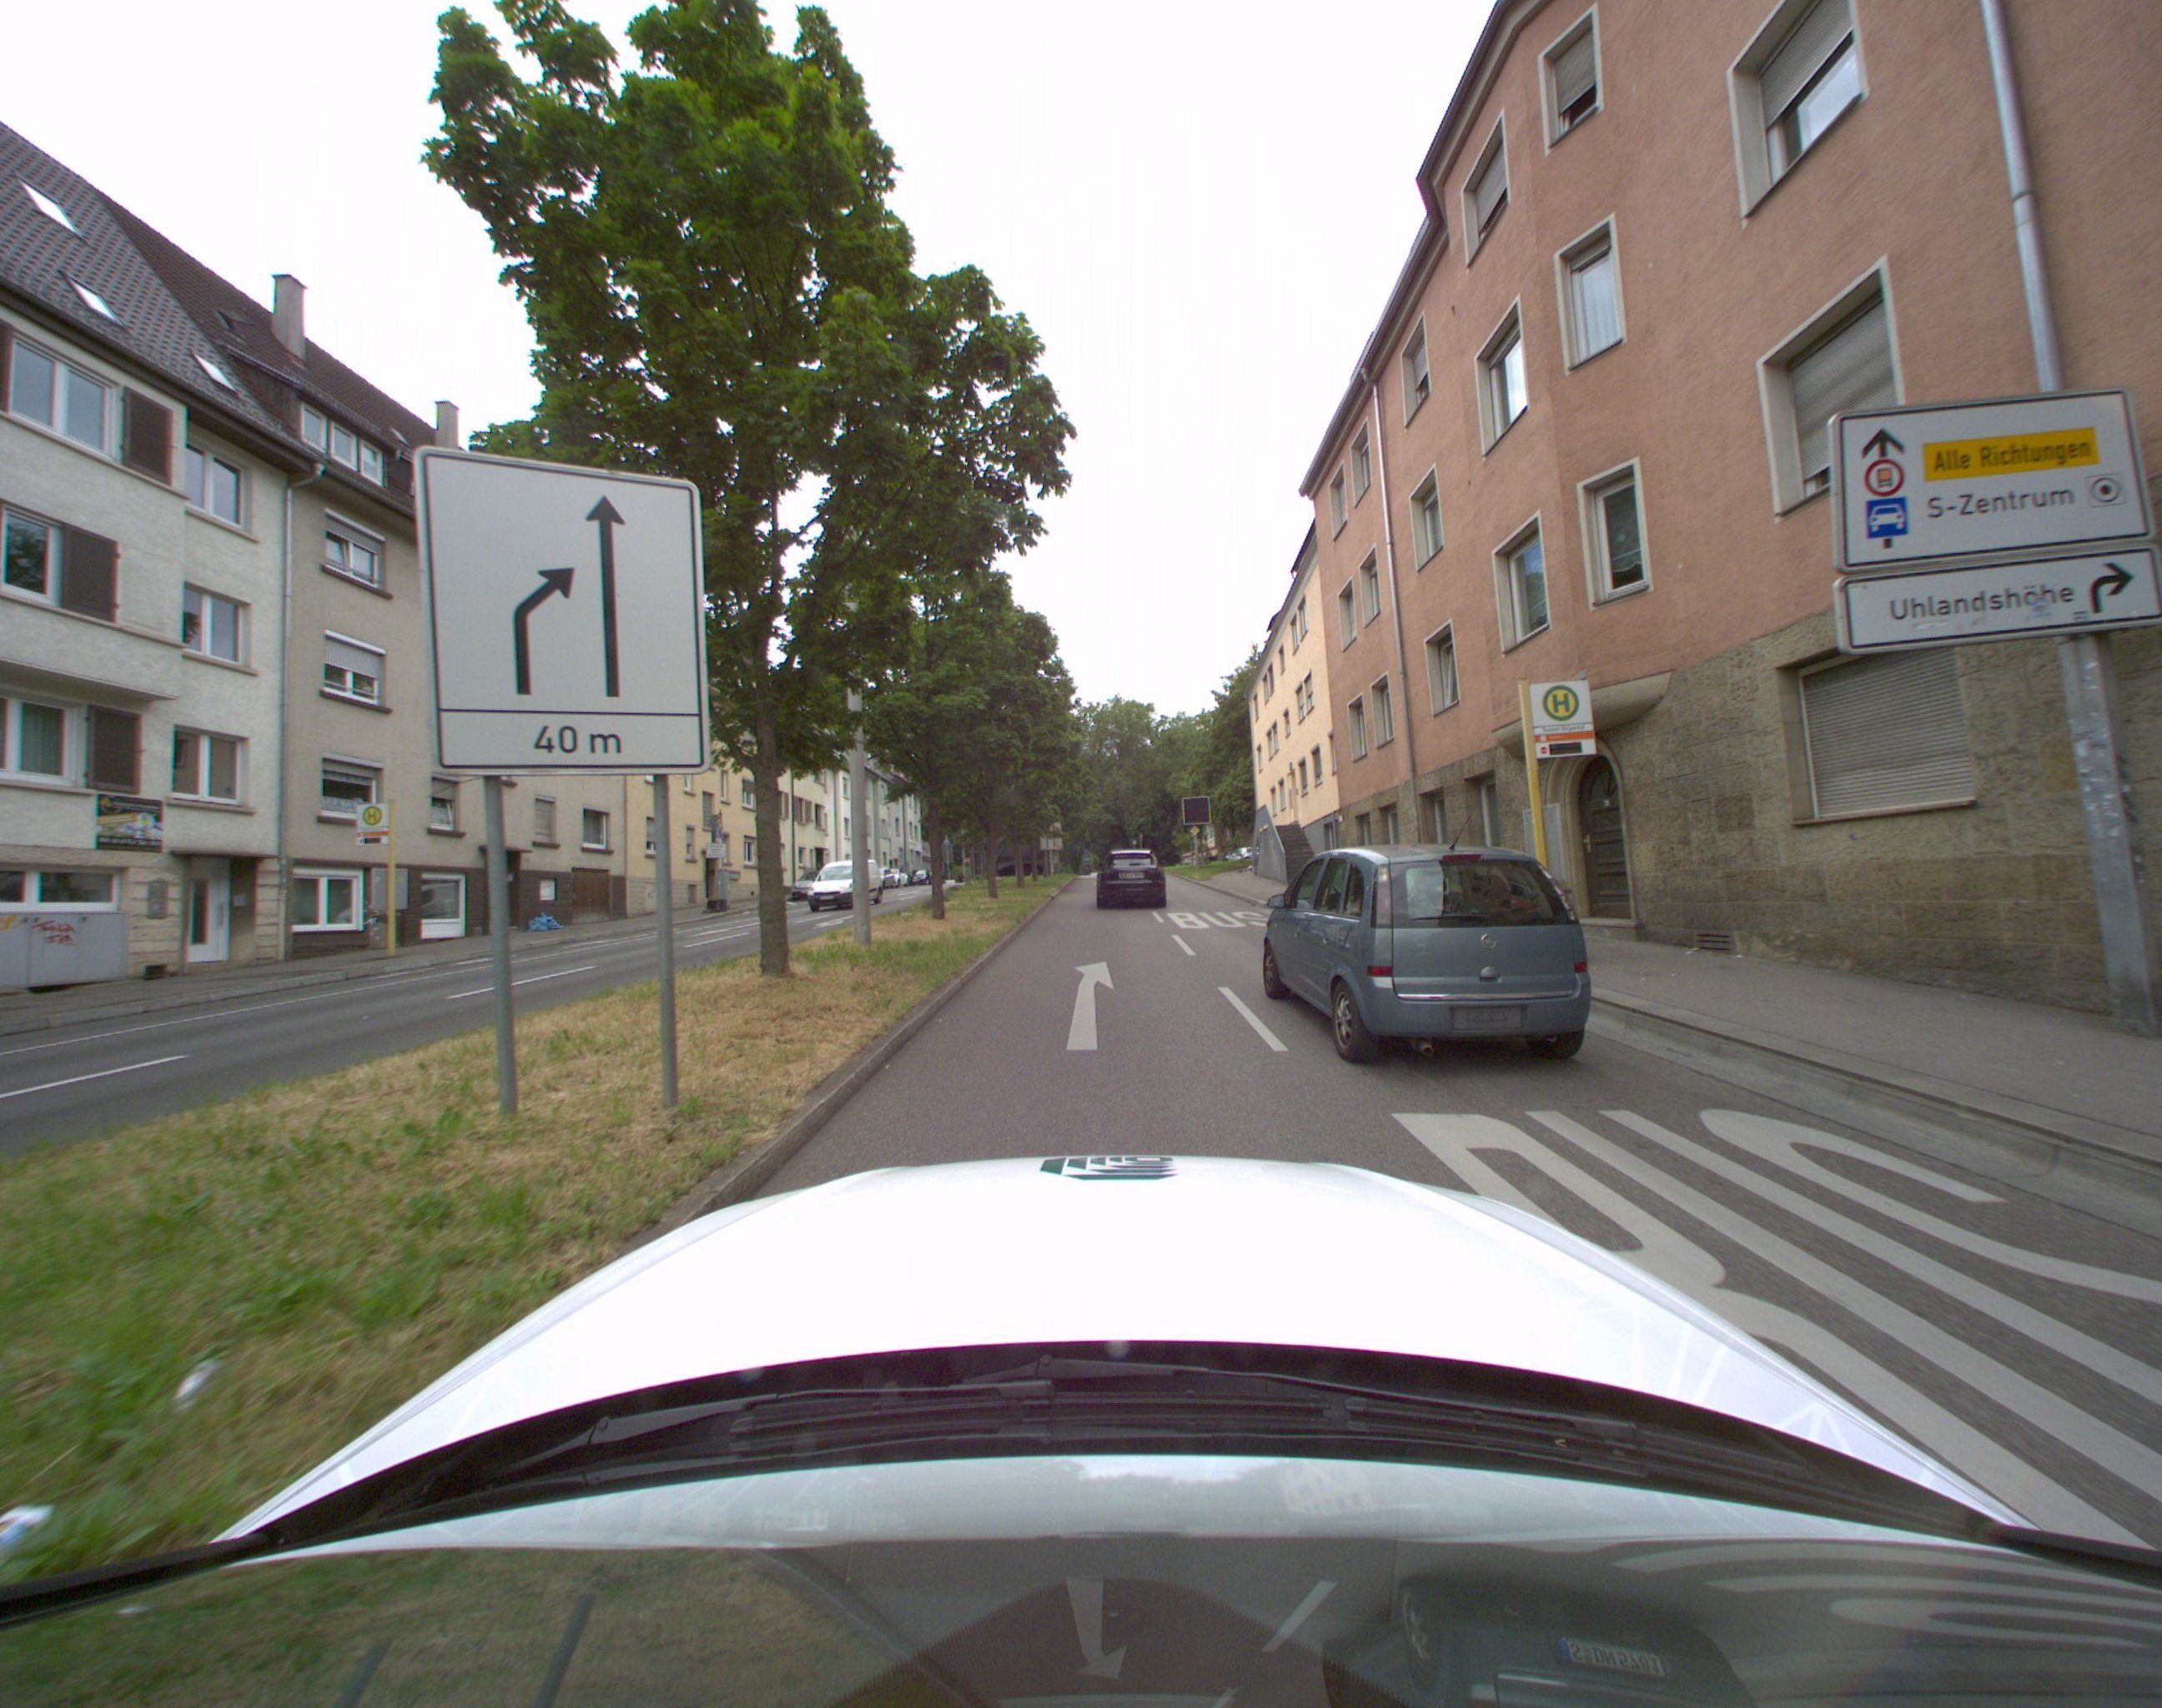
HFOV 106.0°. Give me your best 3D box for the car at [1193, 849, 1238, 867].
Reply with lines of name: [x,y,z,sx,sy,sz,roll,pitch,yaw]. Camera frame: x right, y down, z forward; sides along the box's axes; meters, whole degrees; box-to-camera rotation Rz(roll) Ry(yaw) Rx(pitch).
car: [12.211,0.363,73.923,4.023,1.418,1.975,-3,-1,-44]

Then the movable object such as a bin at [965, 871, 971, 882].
movable object such as a bin: [-12.875,2.588,92.771,0.605,1.186,0.489,1,-3,-14]

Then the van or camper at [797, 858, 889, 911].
van or camper: [-8.836,1.076,30.644,1.900,1.761,4.656,-3,-1,2]

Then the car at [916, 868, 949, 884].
car: [-13.751,2.025,75.601,1.986,1.400,4.519,-3,-1,2]

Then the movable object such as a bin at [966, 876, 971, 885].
movable object such as a bin: [-12.771,3.015,92.252,0.516,0.968,0.442,1,-3,-14]

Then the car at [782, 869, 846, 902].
car: [-14.355,1.651,44.095,1.987,1.552,4.158,-3,-1,0]

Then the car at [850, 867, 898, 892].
car: [-14.092,1.701,55.700,1.987,1.552,4.382,-3,-1,0]

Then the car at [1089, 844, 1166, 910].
car: [1.373,0.667,24.274,1.985,1.653,4.003,-4,-1,3]

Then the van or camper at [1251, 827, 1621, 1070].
van or camper: [2.721,0.630,7.196,1.729,1.578,3.646,-1,0,1]

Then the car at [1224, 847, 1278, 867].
car: [14.527,0.269,69.457,4.135,1.428,1.848,-4,0,-23]

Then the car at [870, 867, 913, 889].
car: [-14.127,1.776,60.922,1.986,1.474,4.159,-3,-1,2]

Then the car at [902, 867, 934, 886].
car: [-13.972,1.920,70.166,1.989,1.423,4.207,-3,-1,-2]
